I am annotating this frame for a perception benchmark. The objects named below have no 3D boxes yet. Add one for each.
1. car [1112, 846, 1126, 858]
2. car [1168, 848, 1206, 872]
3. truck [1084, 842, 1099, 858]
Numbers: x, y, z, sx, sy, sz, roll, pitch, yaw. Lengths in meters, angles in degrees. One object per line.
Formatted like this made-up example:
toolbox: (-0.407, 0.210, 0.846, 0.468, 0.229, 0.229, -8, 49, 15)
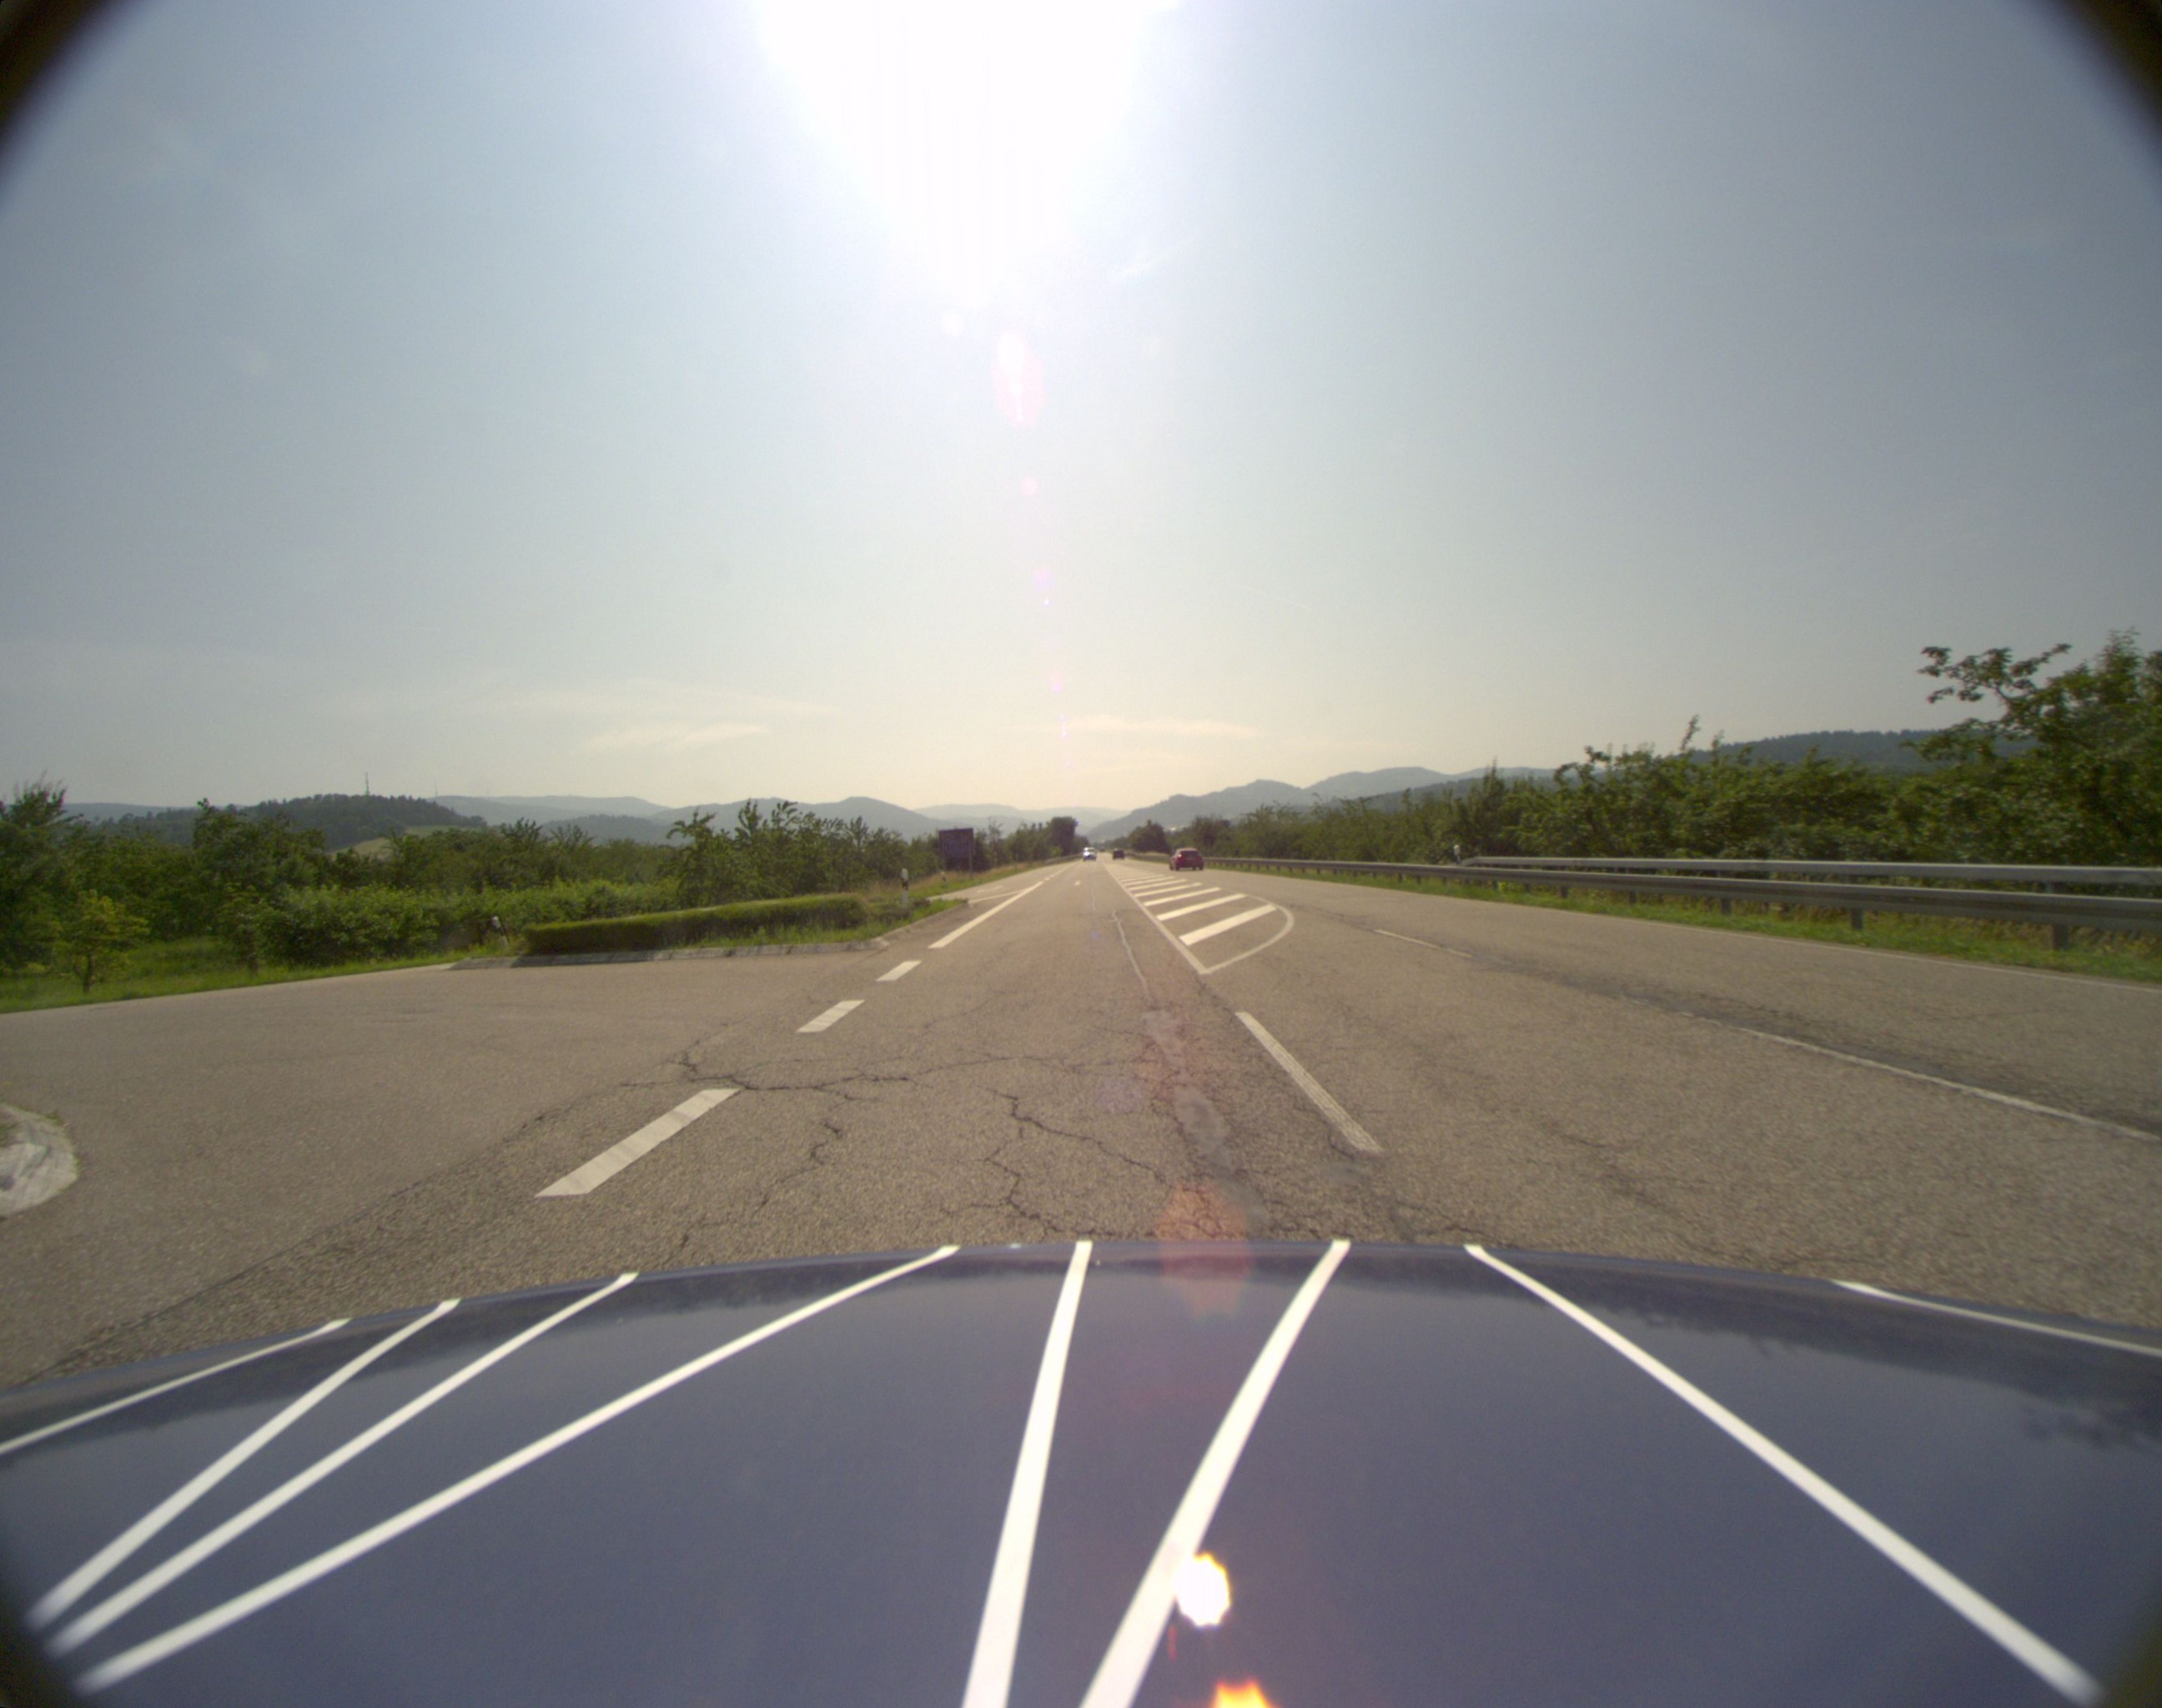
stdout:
car: (5.885, -0.339, 118.532, 1.808, 1.628, 4.808, -3, 1, 0)
car: (7.019, 0.377, 50.783, 1.820, 1.441, 4.494, -3, 1, -1)
truck: (1.606, -0.677, 112.720, 2.031, 2.233, 4.764, -3, 1, 1)
